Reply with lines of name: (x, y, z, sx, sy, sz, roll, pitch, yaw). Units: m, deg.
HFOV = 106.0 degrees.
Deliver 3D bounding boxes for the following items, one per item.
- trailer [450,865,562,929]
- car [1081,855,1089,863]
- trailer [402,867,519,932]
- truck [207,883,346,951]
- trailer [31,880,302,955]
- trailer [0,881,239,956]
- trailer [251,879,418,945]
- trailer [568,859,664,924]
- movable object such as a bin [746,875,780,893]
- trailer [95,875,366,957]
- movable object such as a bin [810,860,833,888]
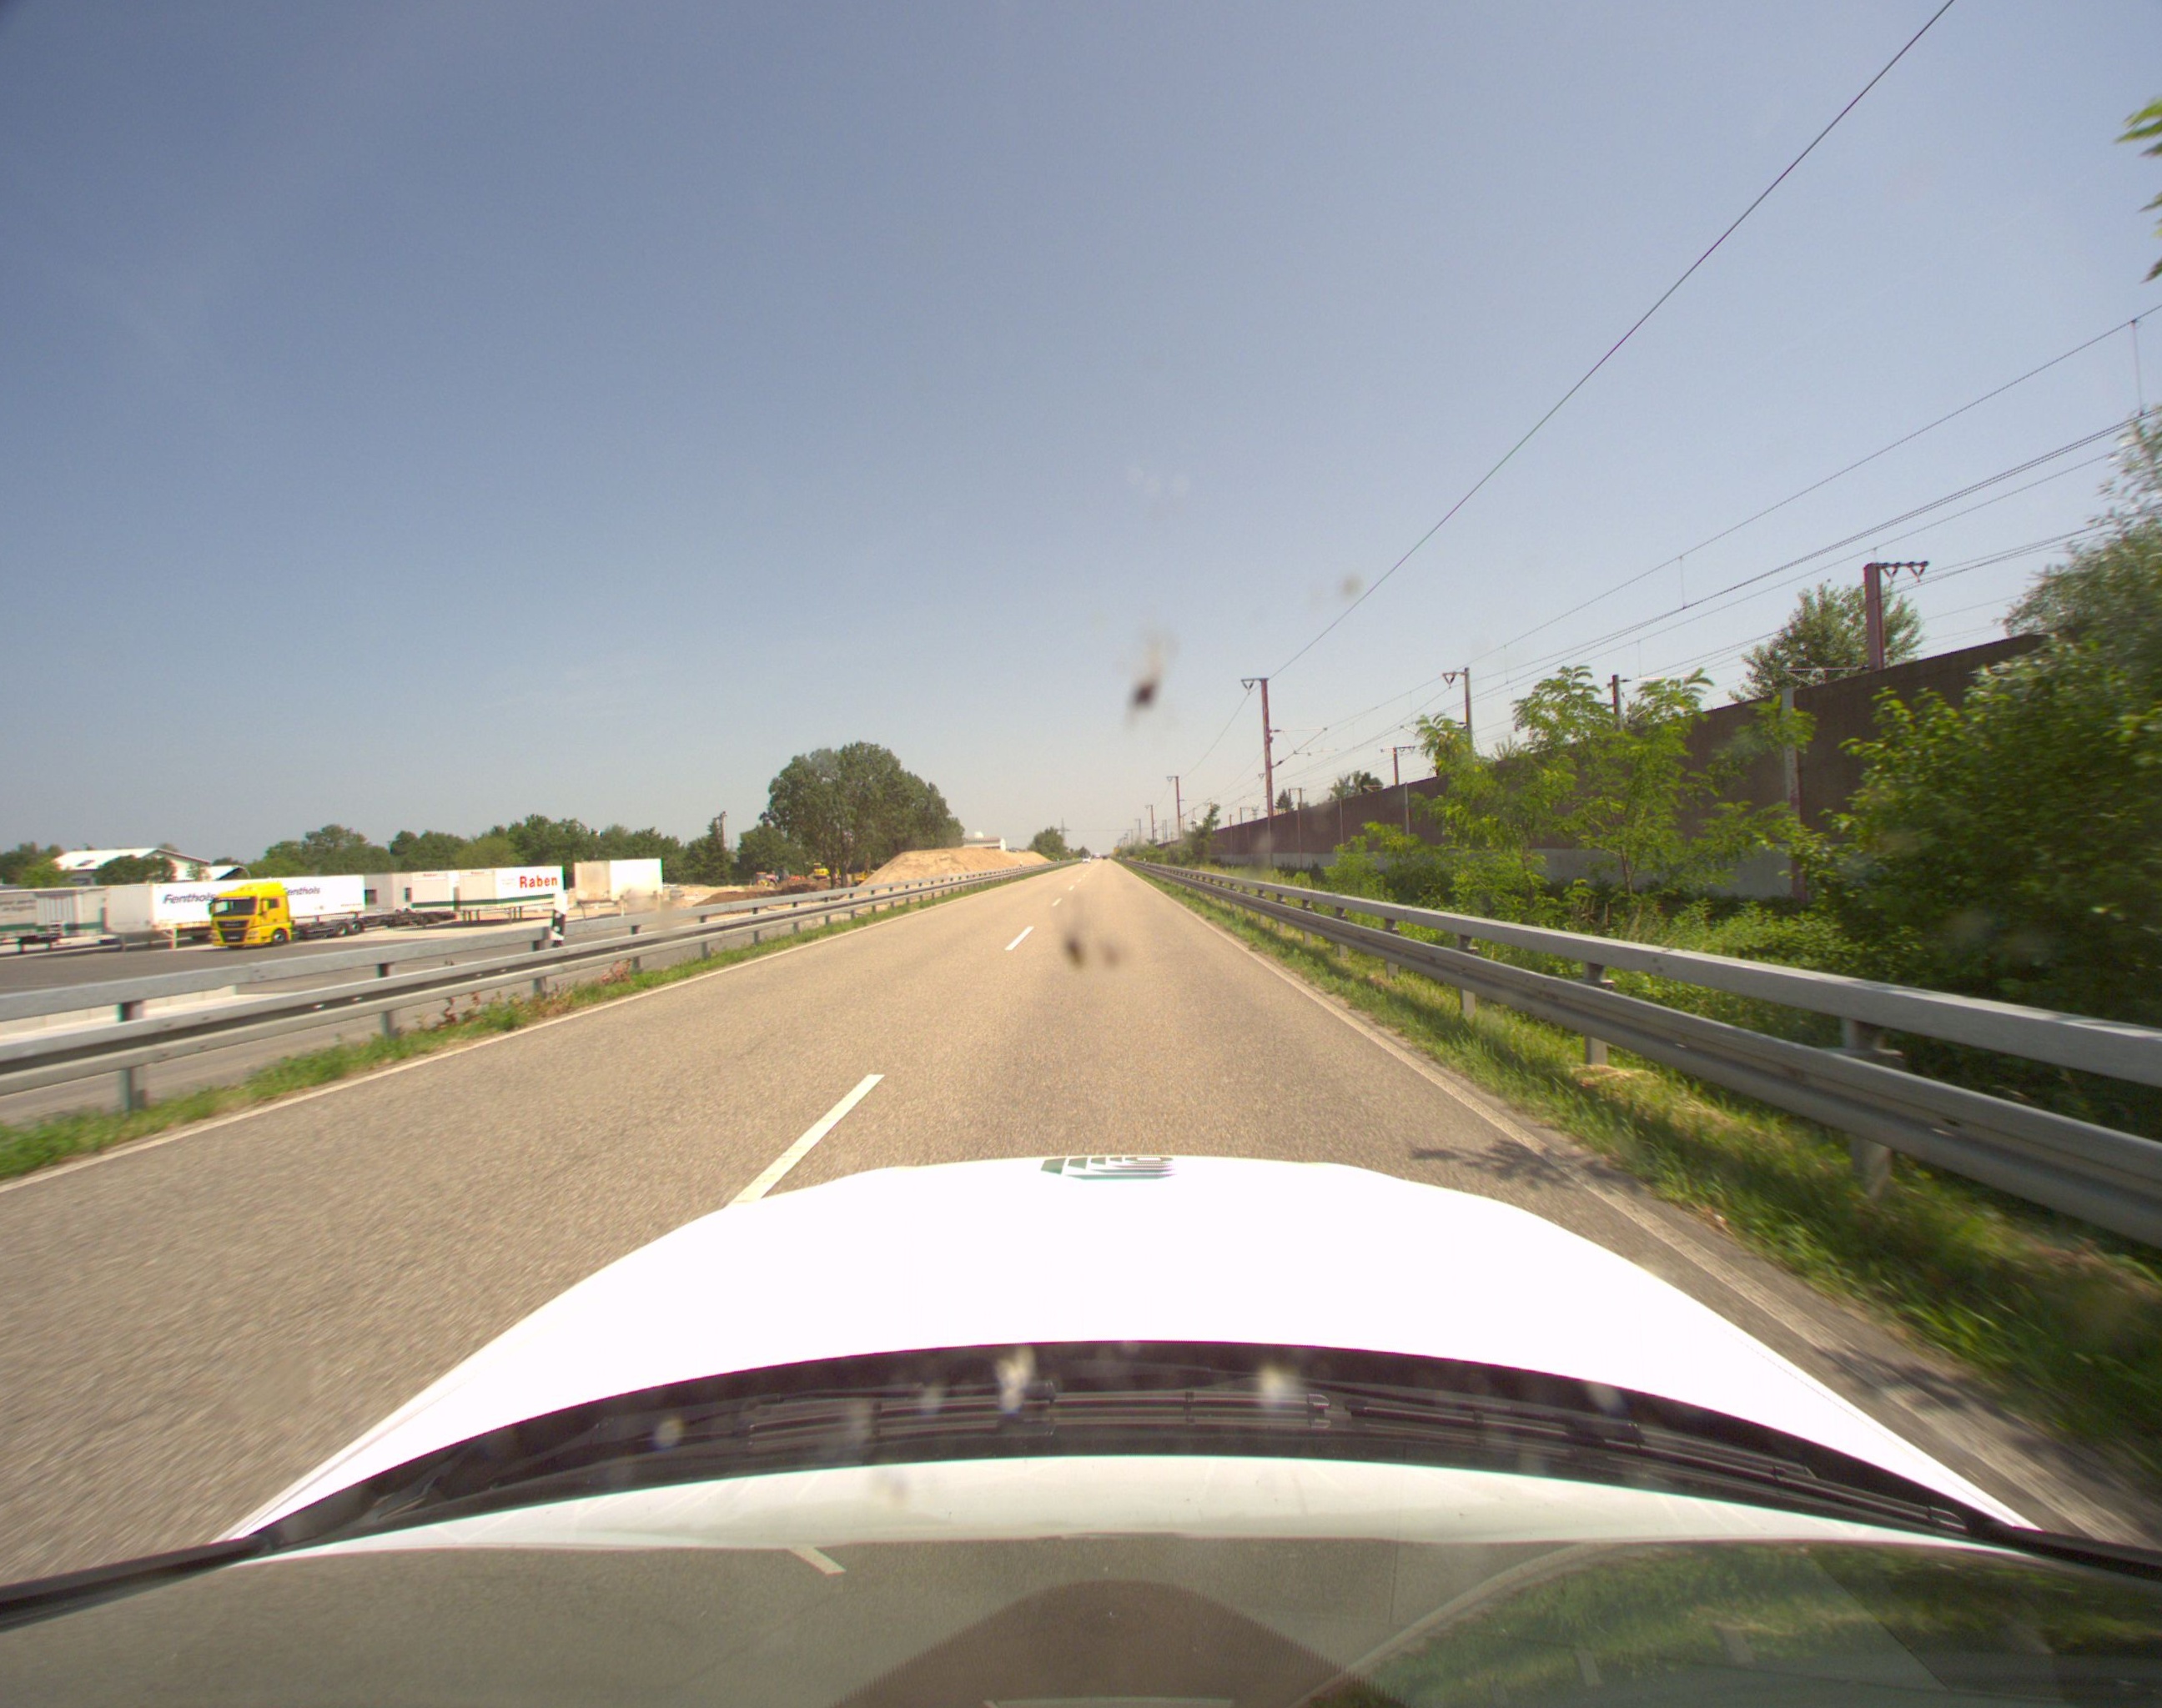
trailer: (-42.480, 3.039, 60.533, 2.736, 4.147, 7.894, -2, 0, -1)
car: (0.815, 0.986, 169.104, 1.590, 1.576, 3.828, -2, 0, 1)
trailer: (-45.526, 3.215, 60.115, 2.846, 4.219, 7.535, -2, 0, -1)
truck: (-49.359, 3.737, 50.261, 2.367, 3.509, 6.835, -2, 0, -8)
trailer: (-60.081, 3.928, 54.558, 2.649, 3.690, 14.064, -2, 0, -3)
trailer: (-66.190, 4.132, 55.219, 2.649, 3.921, 15.447, -2, 0, -3)
trailer: (-50.058, 3.714, 55.259, 2.367, 3.509, 11.139, -2, 0, -8)
trailer: (-34.268, 2.621, 60.444, 2.672, 4.332, 7.946, -2, 0, -2)
movable object such as a bin: (-44.138, 4.153, 113.269, 3.991, 2.013, 1.991, -4, 0, -13)
trailer: (-57.140, 3.865, 55.960, 2.690, 4.260, 15.569, -2, 0, -3)
movable object such as a bin: (-35.494, 2.732, 111.629, 2.627, 3.652, 5.428, -4, 0, -17)
